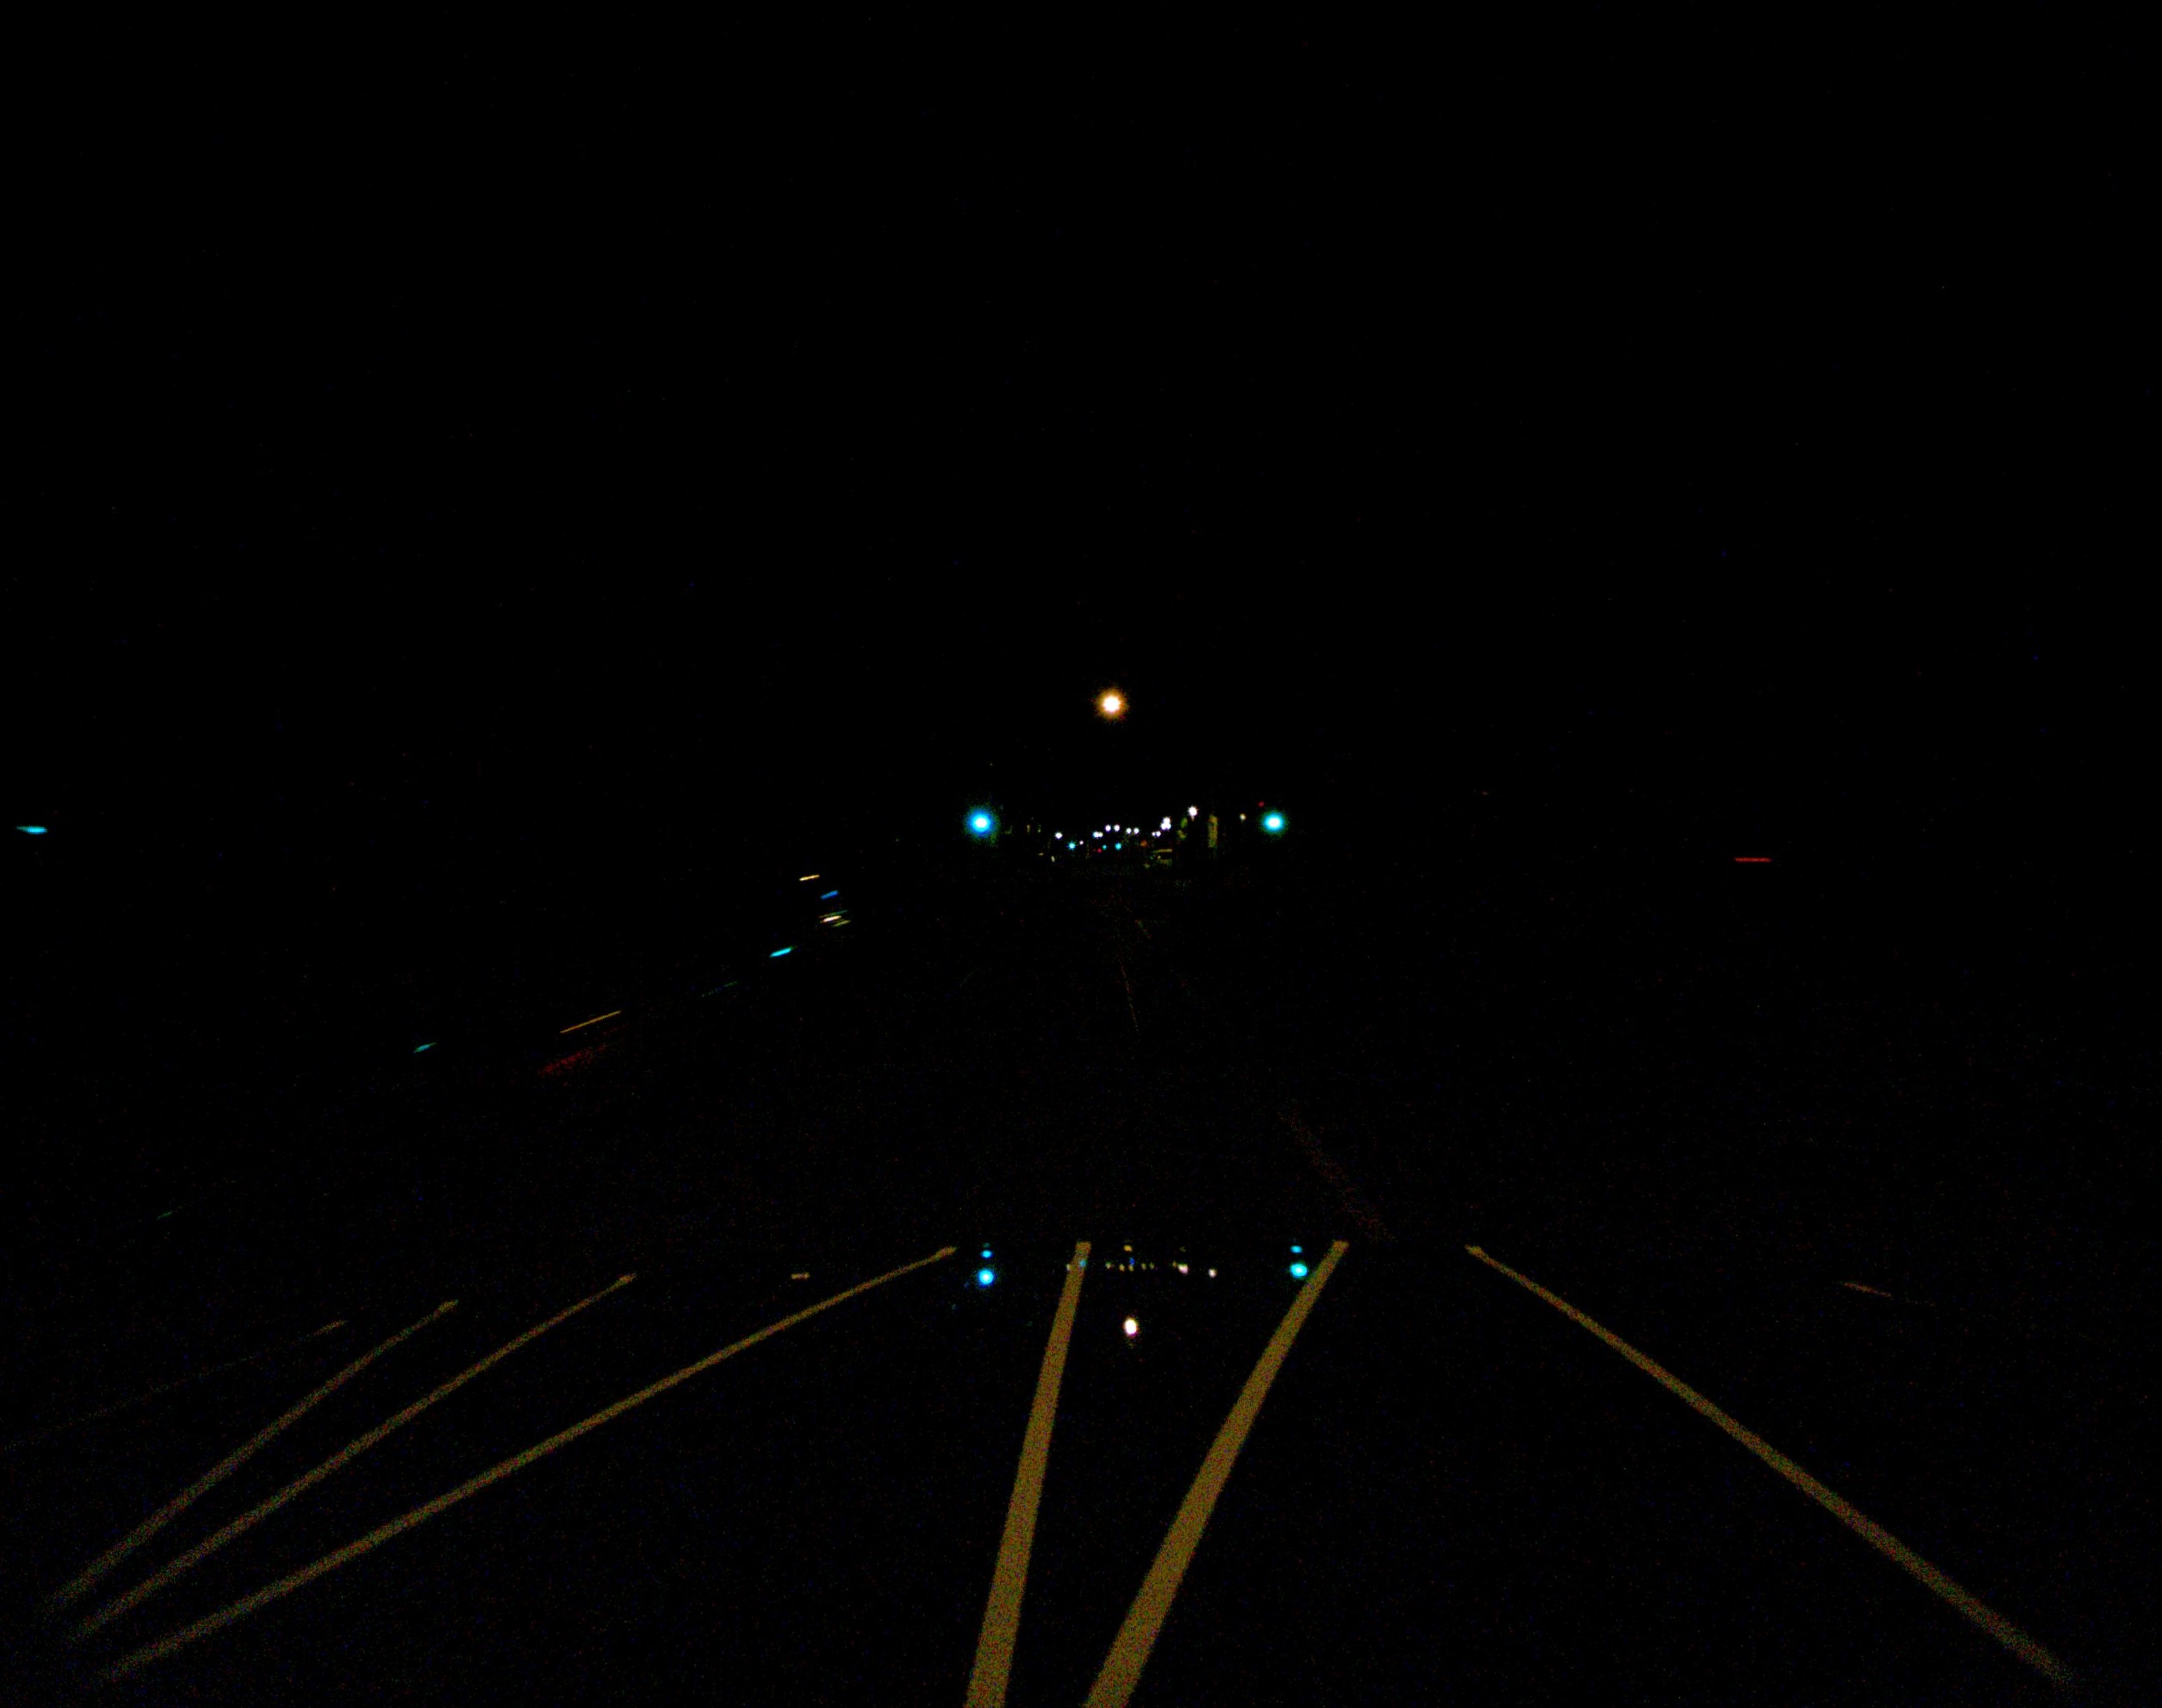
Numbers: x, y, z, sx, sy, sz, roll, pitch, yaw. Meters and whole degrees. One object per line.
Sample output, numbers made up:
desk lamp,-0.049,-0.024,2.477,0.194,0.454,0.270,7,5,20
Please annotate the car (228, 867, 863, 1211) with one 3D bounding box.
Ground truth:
car,-3.115,0.907,5.590,1.744,1.469,4.000,2,0,1

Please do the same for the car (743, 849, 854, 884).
car,-12.380,0.539,33.492,4.203,1.459,1.851,1,1,-3

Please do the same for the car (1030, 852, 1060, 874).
car,-2.489,0.615,53.788,1.740,1.446,4.000,0,1,3

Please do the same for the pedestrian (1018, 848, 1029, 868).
pedestrian,-4.729,0.305,62.730,0.809,1.622,0.966,-1,1,2

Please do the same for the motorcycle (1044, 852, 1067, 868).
motorcycle,-2.228,0.536,67.346,1.948,1.345,0.761,0,1,-35

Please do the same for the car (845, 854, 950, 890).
car,-7.729,0.757,32.361,4.025,1.414,1.851,0,2,-1

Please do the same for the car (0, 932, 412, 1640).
car,-3.200,0.998,0.428,1.690,1.412,4.443,1,0,1

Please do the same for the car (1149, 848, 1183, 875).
car,5.980,0.490,54.061,1.888,1.832,4.814,0,1,0

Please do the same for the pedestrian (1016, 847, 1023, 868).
pedestrian,-4.923,0.282,60.525,0.478,1.699,0.571,0,1,1

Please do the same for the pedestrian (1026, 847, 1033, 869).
pedestrian,-4.123,0.295,60.514,0.508,1.699,0.705,0,1,2

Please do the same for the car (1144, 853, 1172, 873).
car,5.974,0.658,59.556,1.843,1.441,4.881,-1,1,2

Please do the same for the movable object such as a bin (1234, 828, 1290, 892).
movable object such as a bin,7.819,0.217,33.145,1.575,2.611,3.909,1,1,2
